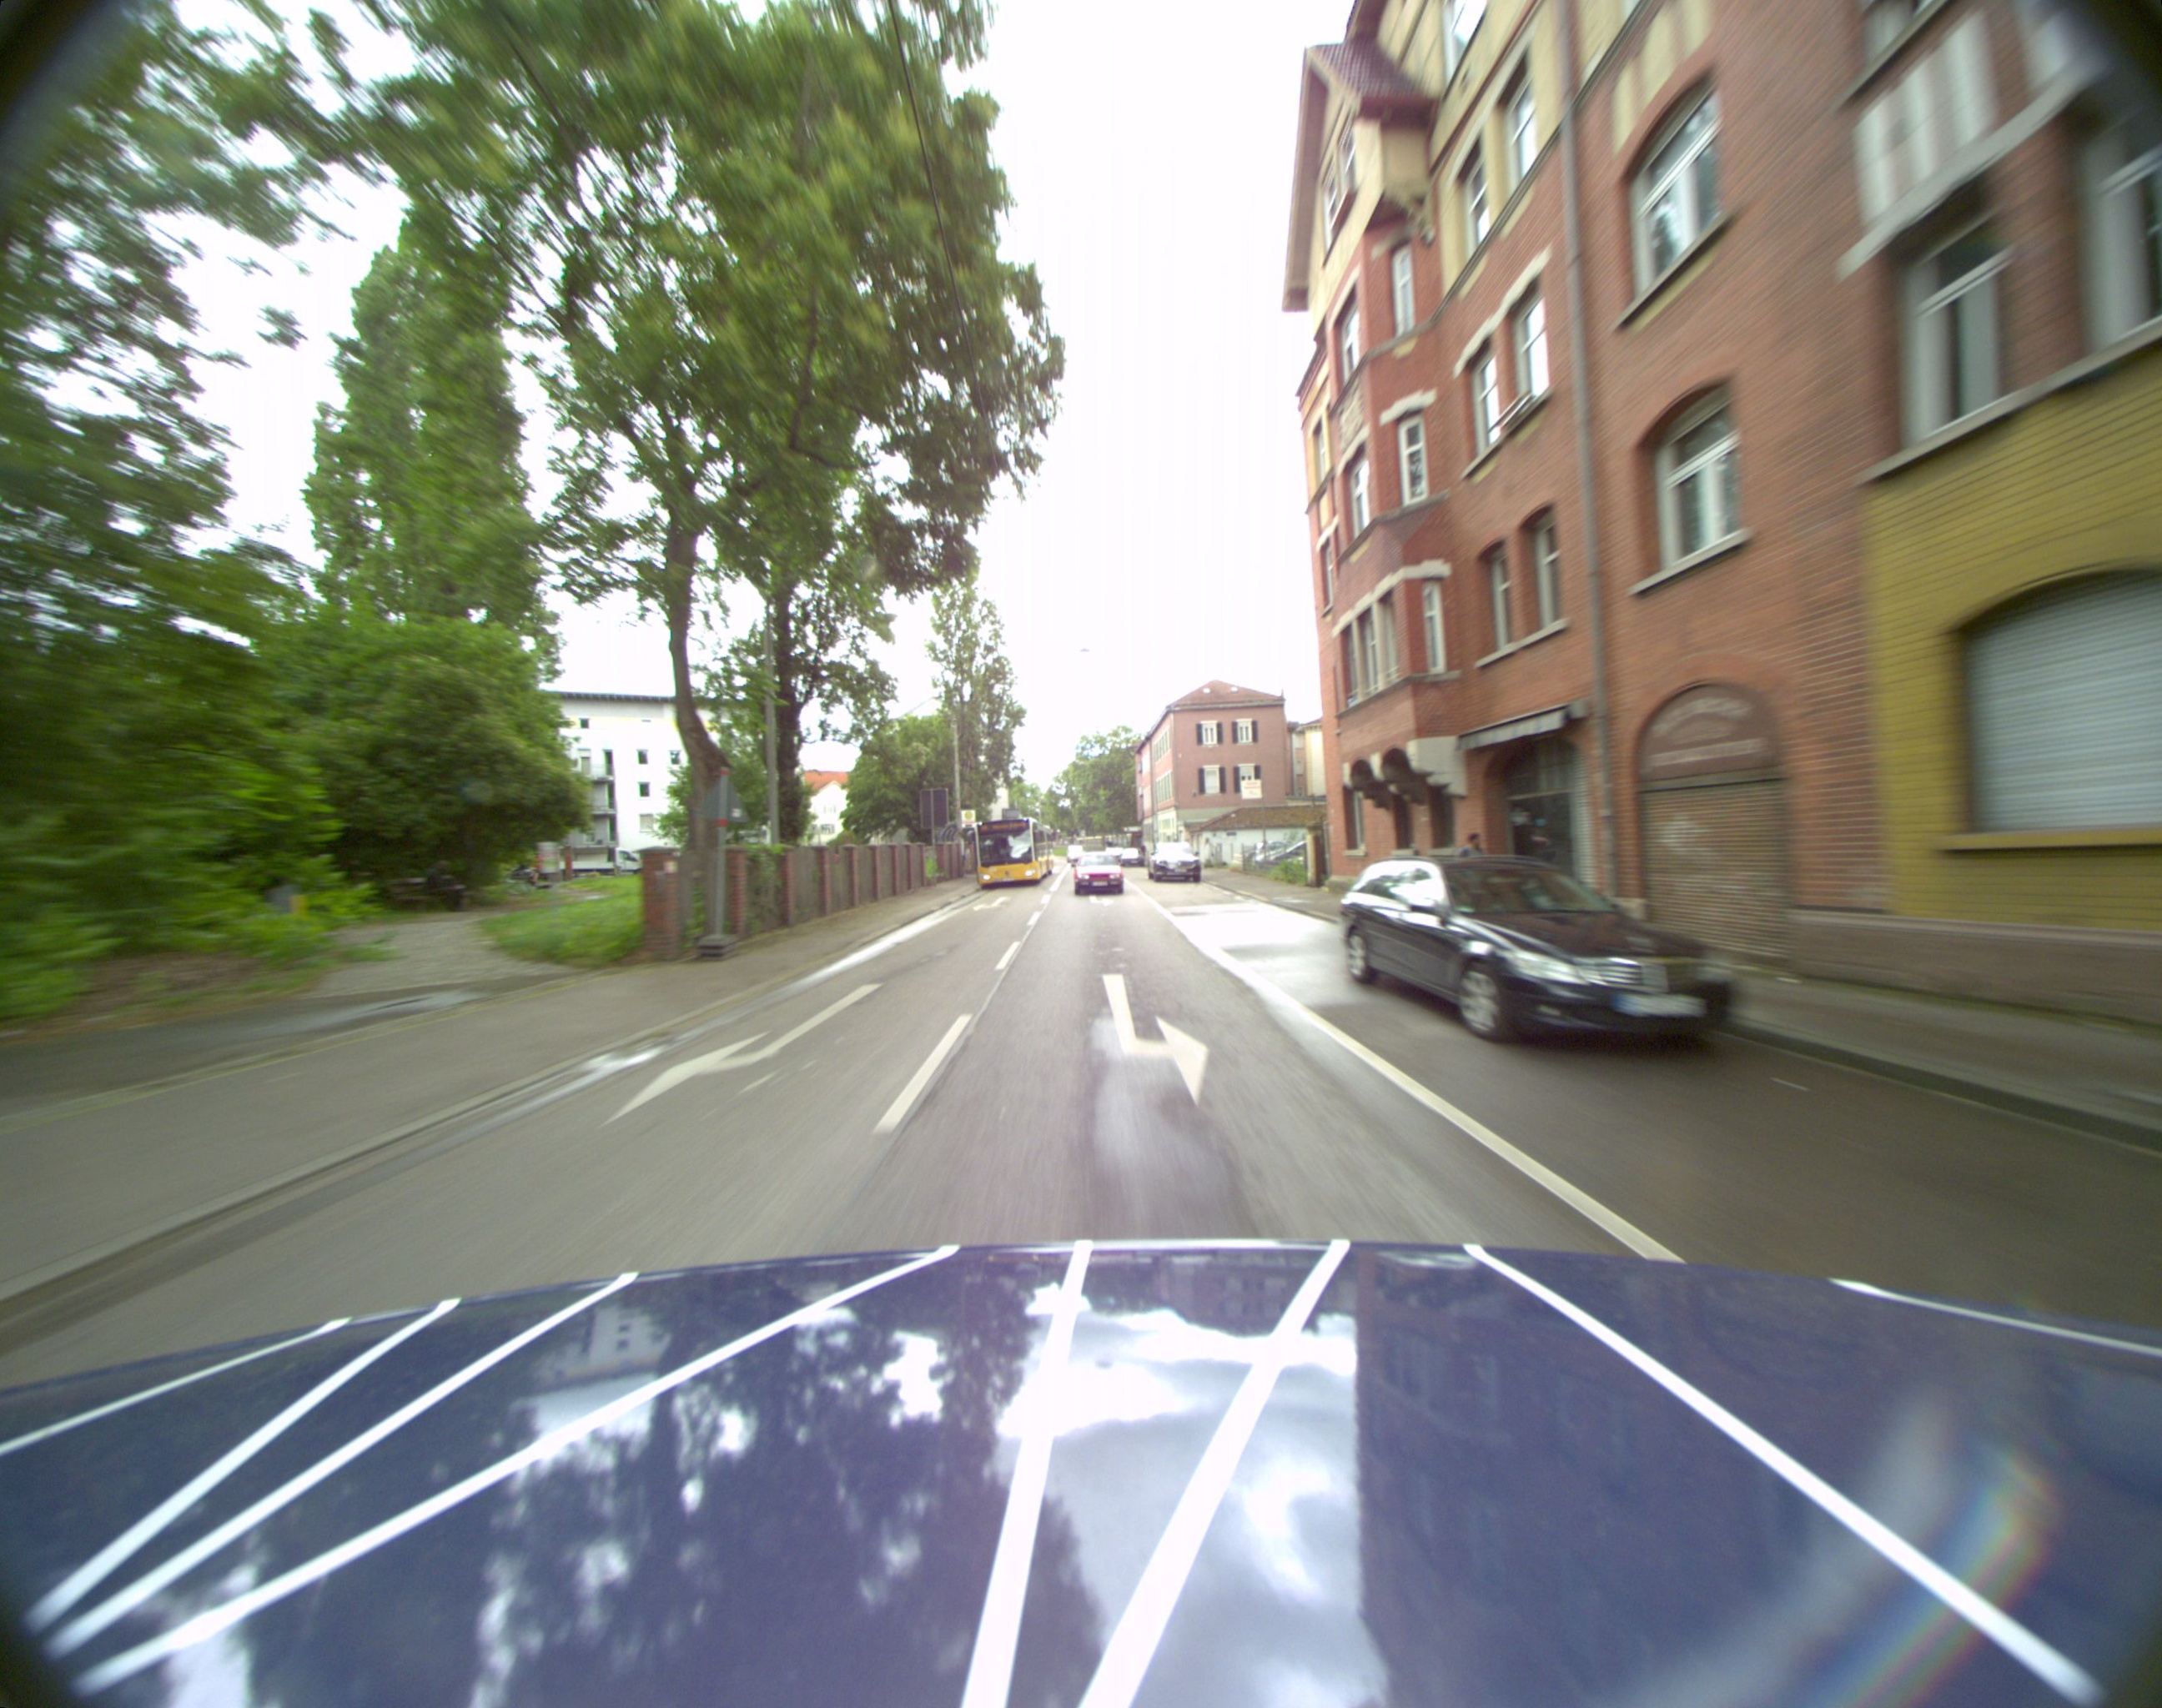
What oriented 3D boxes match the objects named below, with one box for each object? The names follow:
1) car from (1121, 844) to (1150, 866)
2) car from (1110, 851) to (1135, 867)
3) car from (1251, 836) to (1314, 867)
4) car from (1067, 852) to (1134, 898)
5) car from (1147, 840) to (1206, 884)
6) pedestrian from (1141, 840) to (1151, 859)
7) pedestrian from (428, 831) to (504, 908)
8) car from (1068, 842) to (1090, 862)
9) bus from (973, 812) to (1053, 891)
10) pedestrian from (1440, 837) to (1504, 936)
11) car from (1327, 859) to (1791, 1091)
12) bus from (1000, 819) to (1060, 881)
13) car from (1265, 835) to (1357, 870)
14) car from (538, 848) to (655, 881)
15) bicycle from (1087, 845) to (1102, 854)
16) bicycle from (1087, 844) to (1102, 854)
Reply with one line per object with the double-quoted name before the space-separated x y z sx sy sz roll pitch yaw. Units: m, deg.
"car" 4.344 0.063 60.967 1.883 1.478 4.126 -4 2 0
"car" 4.183 0.459 77.518 1.834 1.447 4.917 -3 2 -5
"car" 10.590 -0.145 40.100 2.854 1.556 1.853 -1 1 1
"car" 0.585 0.657 26.087 1.851 1.414 4.171 -1 0 -4
"car" 4.139 0.328 33.656 1.959 1.724 4.773 -3 0 0
"pedestrian" 6.324 -0.412 73.923 0.763 1.734 0.984 -5 0 -2
"pedestrian" -16.670 0.390 20.648 1.135 2.002 1.250 -1 2 -16
"car" -0.209 -0.257 82.356 2.073 1.776 4.453 -5 5 -2
"bus" -3.011 -0.162 36.404 2.678 3.120 9.216 -4 1 1
"pedestrian" 6.648 0.539 12.933 0.661 1.600 0.632 -4 1 1
"car" 3.925 0.853 7.317 1.729 1.477 4.391 -3 -1 2
"bus" -2.890 -0.290 46.028 2.669 3.118 10.038 -4 1 1
"car" 10.334 -0.082 34.323 3.605 1.496 1.853 -1 1 1
"car" -28.729 0.580 45.341 5.566 1.581 1.995 -2 4 -23
"bicycle" 1.860 -0.612 102.147 1.809 1.170 0.723 -5 3 -25
"bicycle" 1.786 -0.699 103.187 1.875 1.108 0.577 -5 3 -4
